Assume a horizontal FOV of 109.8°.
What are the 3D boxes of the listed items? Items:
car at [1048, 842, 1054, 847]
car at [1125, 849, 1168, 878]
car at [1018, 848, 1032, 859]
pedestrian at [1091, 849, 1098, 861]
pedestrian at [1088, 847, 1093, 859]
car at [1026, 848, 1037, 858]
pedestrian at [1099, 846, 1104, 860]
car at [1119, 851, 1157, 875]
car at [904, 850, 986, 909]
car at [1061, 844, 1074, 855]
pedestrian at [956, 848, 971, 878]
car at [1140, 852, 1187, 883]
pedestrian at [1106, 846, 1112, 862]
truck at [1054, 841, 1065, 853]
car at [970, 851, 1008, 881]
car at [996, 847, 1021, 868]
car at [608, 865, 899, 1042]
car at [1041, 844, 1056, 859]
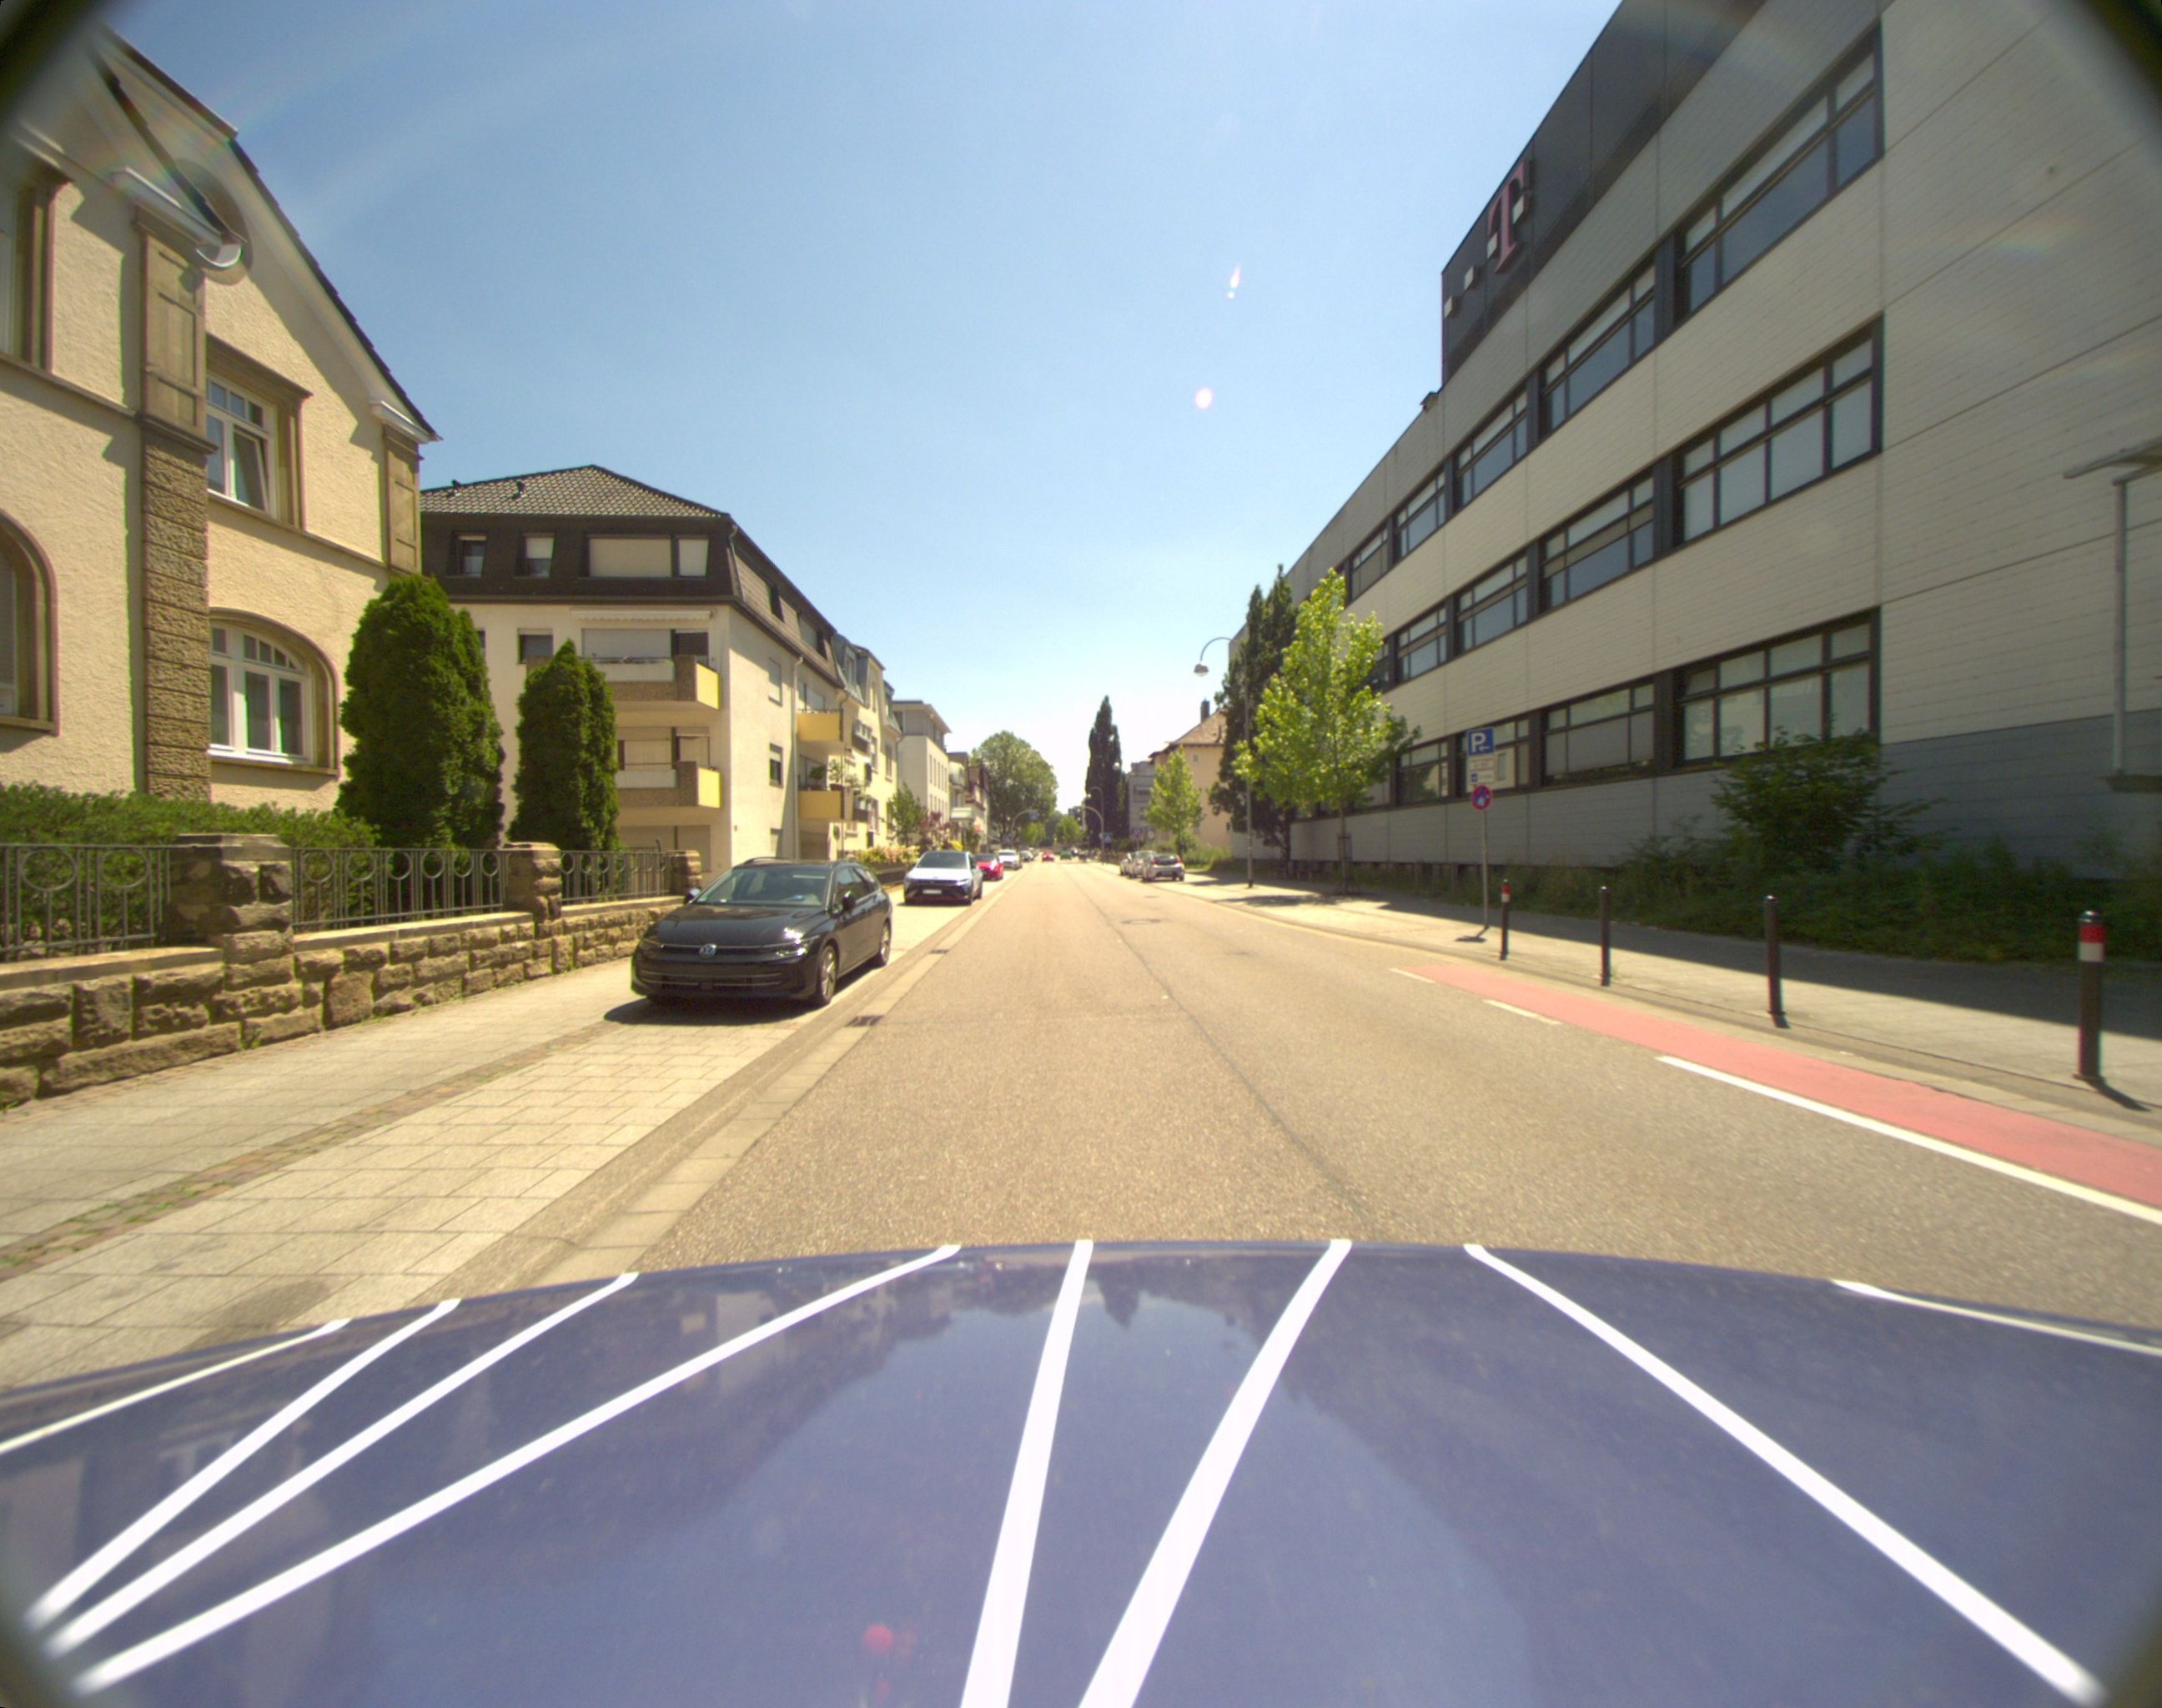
[{"bbox_3d":[-9.046,-2.847,227.218,1.732,1.500,4.290,-2,3,-4],"label":"car"},{"bbox_3d":[3.688,0.504,43.517,1.827,1.503,4.288,-3,1,-2],"label":"car"},{"bbox_3d":[-7.480,-0.068,101.815,1.832,1.418,4.698,0,1,-2],"label":"car"},{"bbox_3d":[1.883,0.093,104.864,0.848,1.635,0.750,-3,2,-1],"label":"pedestrian"},{"bbox_3d":[1.457,-0.124,112.979,0.622,1.667,0.903,-3,1,-3],"label":"pedestrian"},{"bbox_3d":[-7.456,-0.159,113.826,1.562,1.333,4.172,1,1,-3],"label":"car"},{"bbox_3d":[2.416,-0.138,91.513,0.538,1.675,0.708,-1,1,-2],"label":"pedestrian"},{"bbox_3d":[3.615,0.537,48.901,1.827,1.403,4.576,-2,1,-2],"label":"car"},{"bbox_3d":[-4.107,0.700,23.551,1.848,1.610,4.426,1,0,-2],"label":"car"},{"bbox_3d":[-2.081,-0.734,119.587,1.827,1.579,4.099,-4,2,0],"label":"car"},{"bbox_3d":[-6.694,0.518,43.206,0.742,1.660,0.705,2,1,-4],"label":"pedestrian"},{"bbox_3d":[4.071,0.631,38.009,1.752,1.401,3.932,-3,1,-1],"label":"car"},{"bbox_3d":[2.975,-0.018,81.074,0.538,1.675,0.708,-1,1,-2],"label":"pedestrian"},{"bbox_3d":[-5.259,-1.705,187.419,2.426,2.966,6.256,-1,1,0],"label":"truck"},{"bbox_3d":[-4.843,0.609,40.443,1.608,1.432,3.852,2,0,-1],"label":"car"},{"bbox_3d":[-5.844,0.285,61.839,1.709,1.656,4.579,0,0,-2],"label":"car"},{"bbox_3d":[-3.436,0.925,8.955,1.636,1.438,4.396,2,0,-2],"label":"car"},{"bbox_3d":[-4.477,-0.373,105.160,2.001,1.880,4.292,-2,1,-3],"label":"car"}]
